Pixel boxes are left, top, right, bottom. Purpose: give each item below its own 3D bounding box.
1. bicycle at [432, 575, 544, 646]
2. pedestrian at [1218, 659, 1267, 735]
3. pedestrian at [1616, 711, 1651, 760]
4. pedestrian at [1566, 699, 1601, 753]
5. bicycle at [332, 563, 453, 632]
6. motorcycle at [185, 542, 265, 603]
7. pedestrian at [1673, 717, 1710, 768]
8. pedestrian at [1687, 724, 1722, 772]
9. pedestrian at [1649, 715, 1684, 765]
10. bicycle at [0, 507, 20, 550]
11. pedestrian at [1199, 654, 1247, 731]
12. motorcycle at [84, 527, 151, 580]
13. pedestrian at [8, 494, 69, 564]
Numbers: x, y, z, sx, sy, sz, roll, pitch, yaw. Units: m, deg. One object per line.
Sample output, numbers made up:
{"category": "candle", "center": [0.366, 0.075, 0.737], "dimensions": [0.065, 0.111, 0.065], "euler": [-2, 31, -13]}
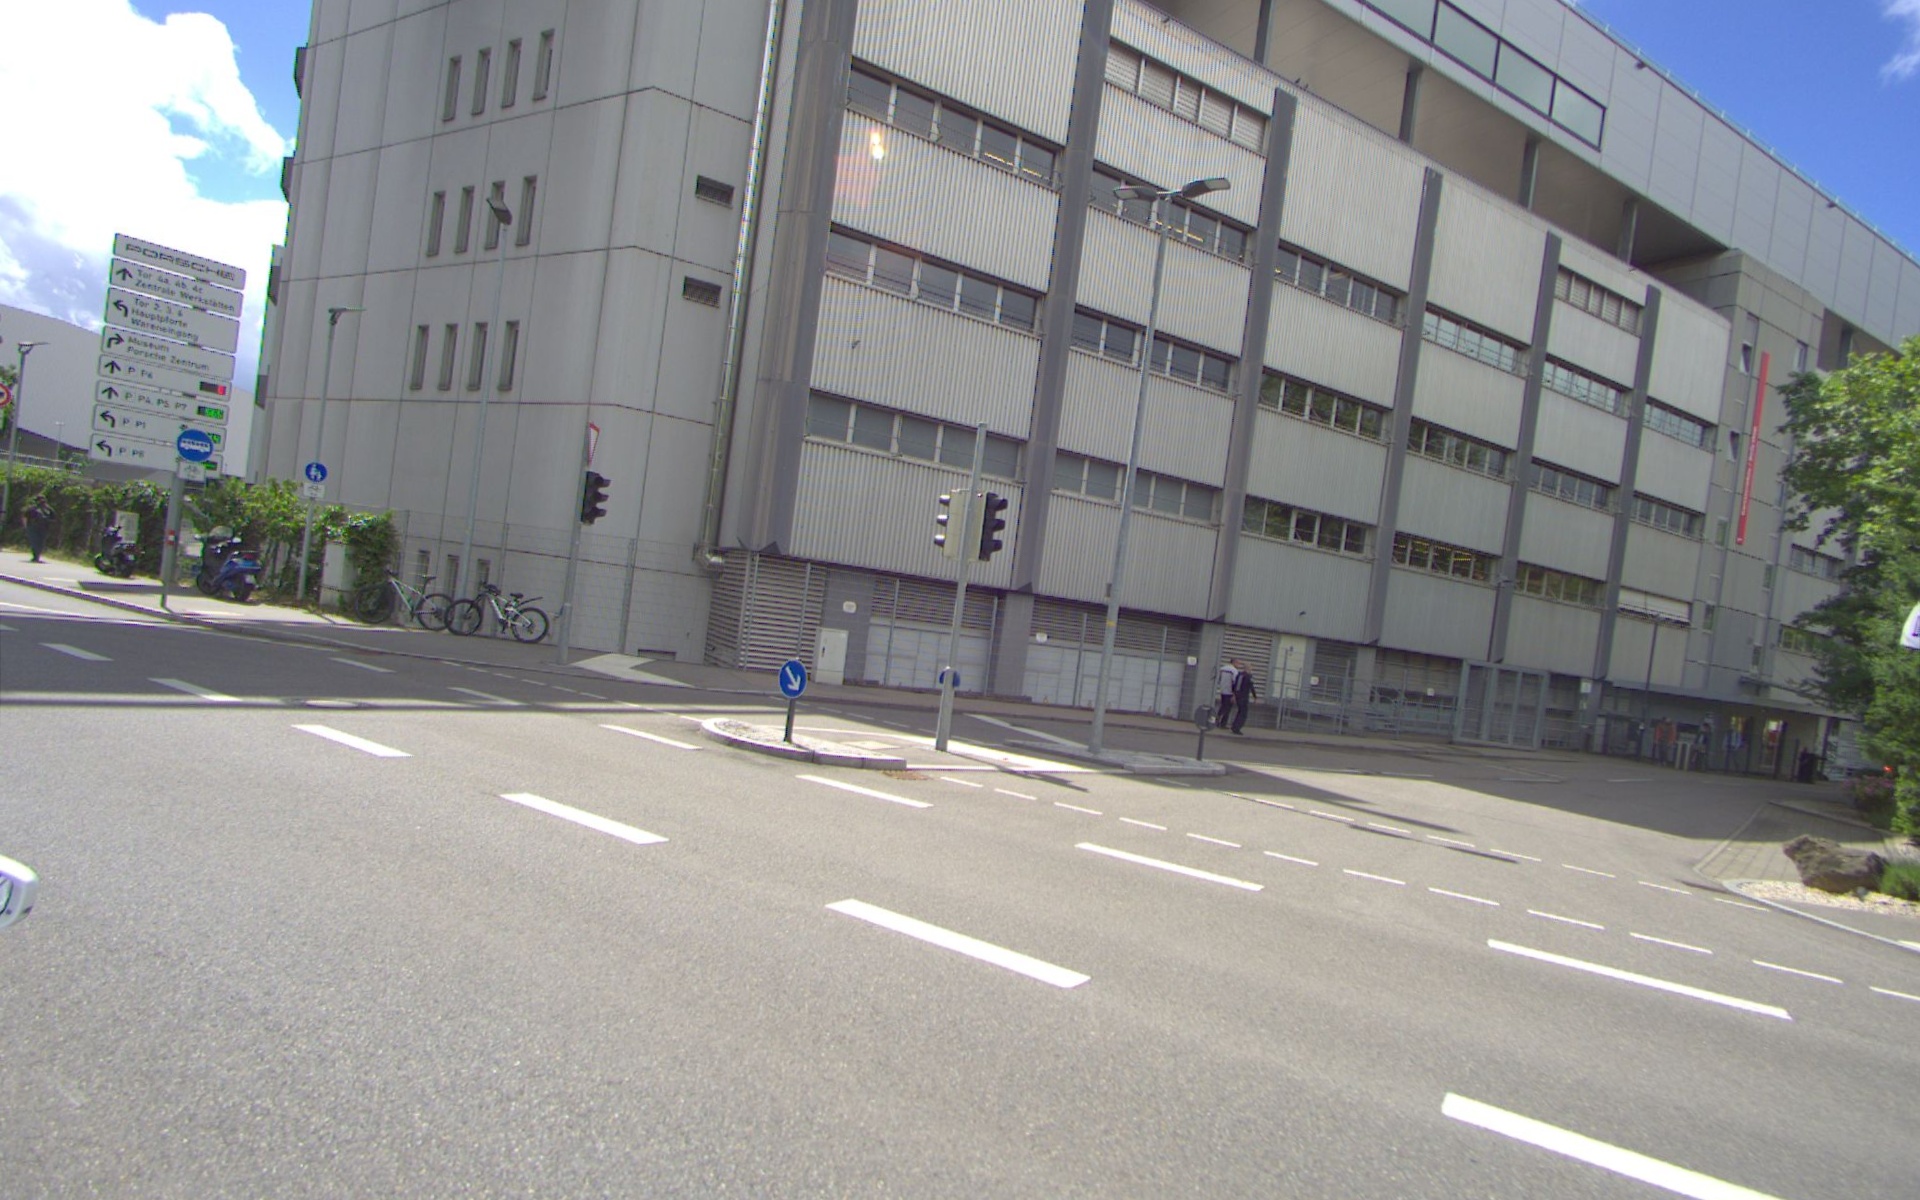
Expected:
{"category": "bicycle", "center": [-9.223, 0.207, 19.709], "dimensions": [1.863, 1.142, 0.542], "euler": [7, 1, -24]}
{"category": "pedestrian", "center": [6.840, 2.349, 24.384], "dimensions": [0.737, 1.742, 0.613], "euler": [8, -1, -30]}
{"category": "pedestrian", "center": [25.716, 5.168, 38.428], "dimensions": [0.739, 1.712, 0.748], "euler": [8, -1, -36]}
{"category": "pedestrian", "center": [23.879, 4.830, 38.539], "dimensions": [0.739, 1.911, 0.748], "euler": [8, -1, -36]}
{"category": "bicycle", "center": [-11.074, -0.042, 19.705], "dimensions": [1.944, 1.142, 0.542], "euler": [6, 2, -24]}
{"category": "motorcycle", "center": [-15.535, -0.581, 21.243], "dimensions": [2.003, 1.081, 0.591], "euler": [7, 2, 32]}
{"category": "pedestrian", "center": [26.780, 5.212, 36.838], "dimensions": [0.739, 1.712, 0.748], "euler": [8, -1, -36]}
{"category": "pedestrian", "center": [28.344, 5.636, 38.300], "dimensions": [0.739, 1.712, 0.748], "euler": [8, -1, -36]}
{"category": "pedestrian", "center": [26.343, 5.214, 37.506], "dimensions": [0.739, 1.712, 0.748], "euler": [8, -1, -36]}
{"category": "bicycle", "center": [-29.026, -2.219, 30.207], "dimensions": [2.427, 1.193, 0.444], "euler": [6, -1, 31]}
{"category": "pedestrian", "center": [6.521, 2.296, 24.967], "dimensions": [0.737, 1.800, 0.632], "euler": [8, -1, -30]}
{"category": "motorcycle", "center": [-20.448, -1.130, 24.401], "dimensions": [2.003, 1.081, 0.591], "euler": [7, 1, 32]}
{"category": "pedestrian", "center": [-23.756, -1.829, 25.936], "dimensions": [0.981, 1.666, 0.810], "euler": [6, 1, 30]}
